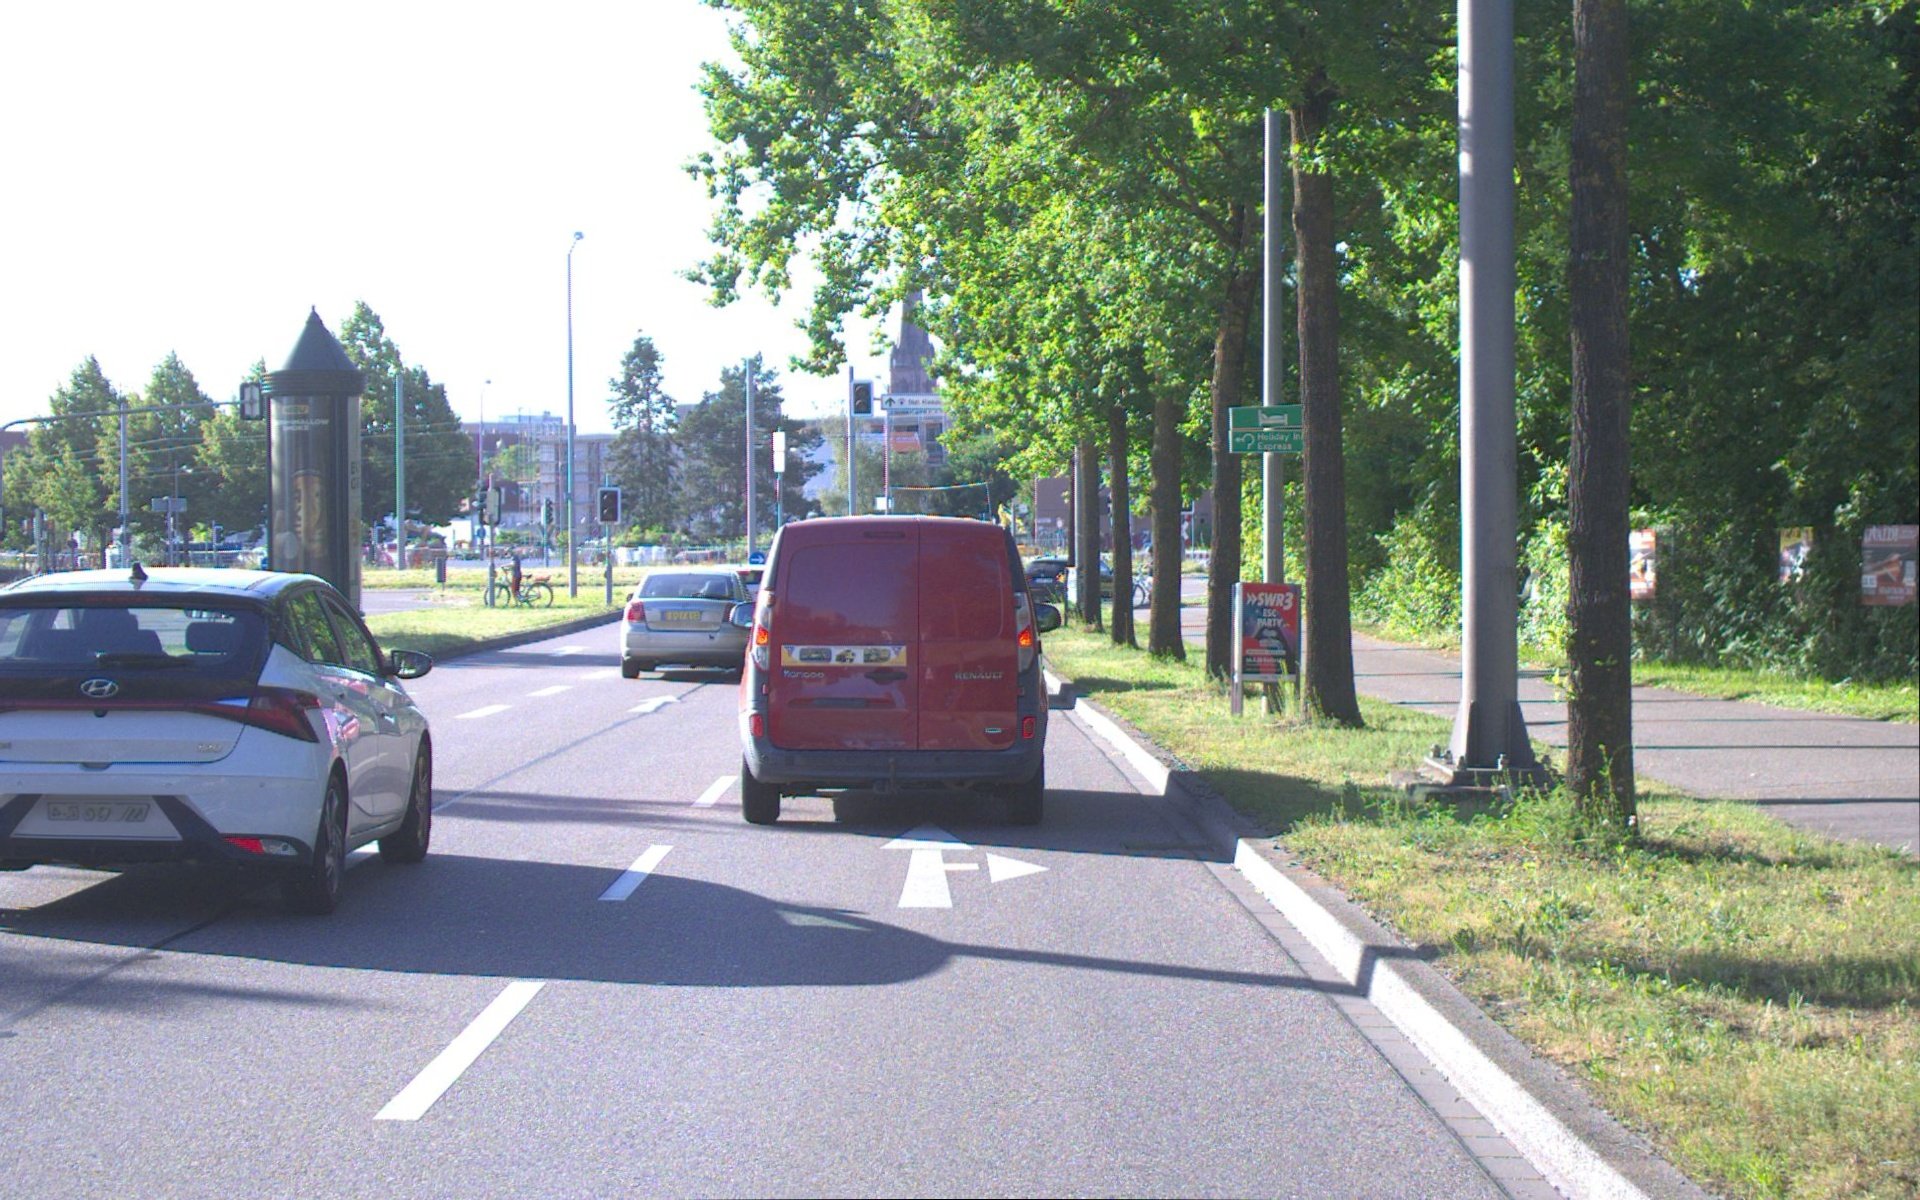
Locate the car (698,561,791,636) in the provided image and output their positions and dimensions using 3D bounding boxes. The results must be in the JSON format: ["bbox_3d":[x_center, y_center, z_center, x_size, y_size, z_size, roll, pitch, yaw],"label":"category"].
[{"bbox_3d":[-4.241,-0.045,68.103,1.661,1.393,3.559,0,1,-1],"label":"car"}]

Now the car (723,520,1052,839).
[{"bbox_3d":[-0.427,0.397,21.080,1.806,1.753,4.006,1,1,-1],"label":"car"}]

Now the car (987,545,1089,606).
[{"bbox_3d":[2.135,-0.671,93.530,1.773,1.619,3.923,1,1,17],"label":"car"}]

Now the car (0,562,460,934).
[{"bbox_3d":[-3.459,0.565,15.654,1.778,1.404,4.075,0,1,0],"label":"car"}]

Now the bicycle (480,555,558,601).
[{"bbox_3d":[-11.469,-0.578,89.378,1.958,1.162,0.517,-1,1,-1],"label":"bicycle"}]

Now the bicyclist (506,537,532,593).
[{"bbox_3d":[-11.469,-0.913,89.369,0.603,1.463,0.517,-1,1,-1],"label":"bicyclist"}]

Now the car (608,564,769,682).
[{"bbox_3d":[-3.624,0.279,46.449,1.841,1.451,4.162,1,1,0],"label":"car"}]

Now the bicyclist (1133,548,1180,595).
[{"bbox_3d":[5.258,-0.758,91.911,0.968,1.245,0.789,-1,1,-32],"label":"bicyclist"}]

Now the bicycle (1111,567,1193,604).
[{"bbox_3d":[5.121,-0.395,91.815,2.119,0.955,0.789,-1,1,-32],"label":"bicycle"}]

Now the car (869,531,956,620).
[{"bbox_3d":[-0.995,-0.515,70.360,1.659,1.756,3.498,-1,1,-3],"label":"car"}]
